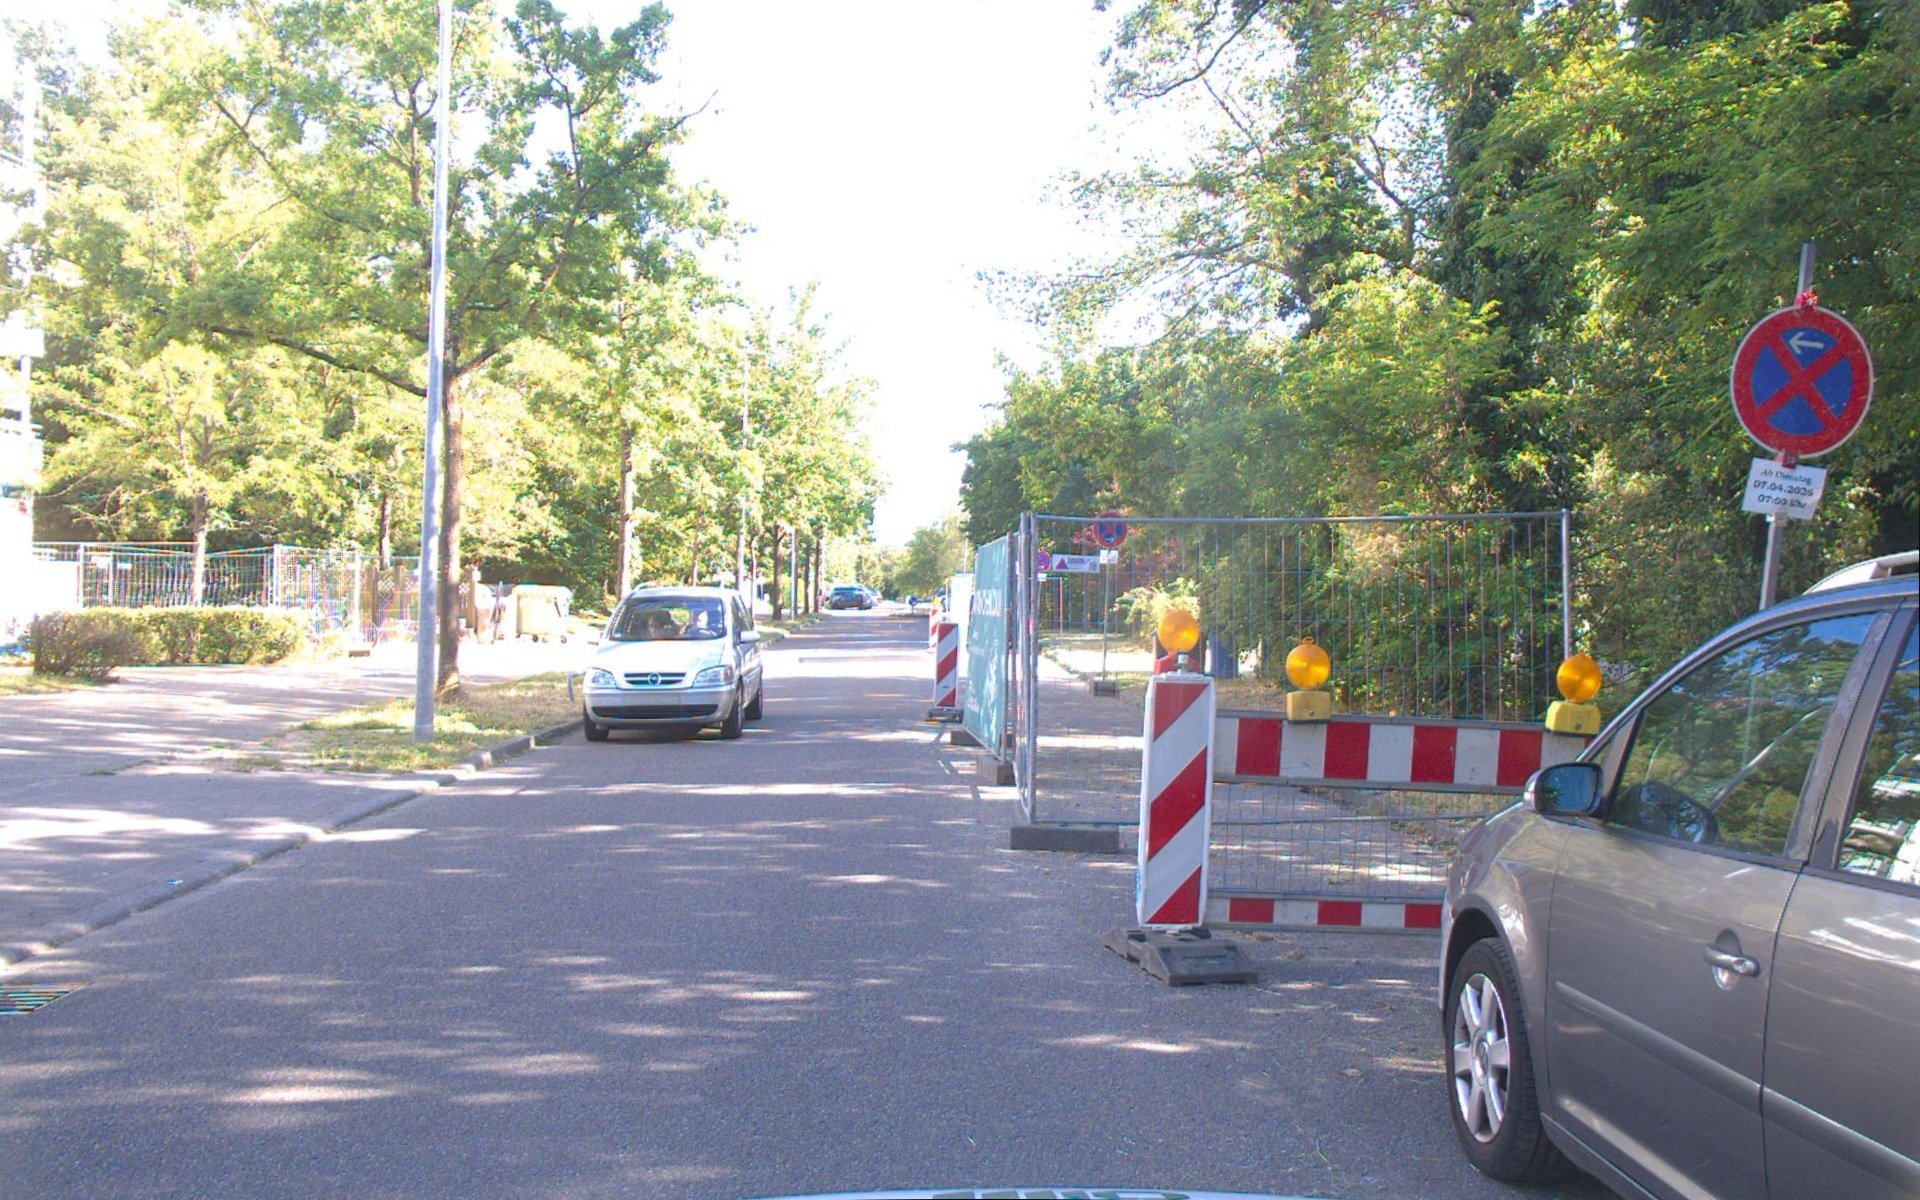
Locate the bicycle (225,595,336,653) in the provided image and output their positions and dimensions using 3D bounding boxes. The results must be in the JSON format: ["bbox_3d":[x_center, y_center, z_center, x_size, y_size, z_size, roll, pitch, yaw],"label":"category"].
[{"bbox_3d":[-12.641,0.449,30.806,1.837,1.045,0.399,1,-1,-15],"label":"bicycle"}]

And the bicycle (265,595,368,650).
[{"bbox_3d":[-12.520,0.436,32.225,1.807,1.045,0.399,1,-1,-15],"label":"bicycle"}]

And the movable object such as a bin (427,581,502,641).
[{"bbox_3d":[-12.448,0.266,41.546,1.244,1.460,1.324,0,0,26],"label":"movable object such as a bin"}]

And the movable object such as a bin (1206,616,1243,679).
[{"bbox_3d":[4.424,0.787,27.679,0.508,1.017,0.608,-1,0,-1],"label":"movable object such as a bin"}]

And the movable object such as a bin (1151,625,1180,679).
[{"bbox_3d":[3.436,0.873,27.693,0.404,0.885,0.484,-1,0,-1],"label":"movable object such as a bin"}]

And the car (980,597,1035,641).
[{"bbox_3d":[1.645,0.642,58.265,1.628,1.399,4.153,2,0,-2],"label":"car"}]

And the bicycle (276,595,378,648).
[{"bbox_3d":[-12.831,0.440,33.574,1.882,1.045,0.399,1,-1,-15],"label":"bicycle"}]

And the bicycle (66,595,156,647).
[{"bbox_3d":[-17.454,0.426,33.999,1.659,1.045,0.401,1,-1,4],"label":"bicycle"}]

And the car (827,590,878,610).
[{"bbox_3d":[-9.567,-0.001,147.612,4.227,1.604,2.047,2,0,5],"label":"car"}]

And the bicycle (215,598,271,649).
[{"bbox_3d":[-14.930,0.483,34.482,0.391,1.045,1.700,1,-1,1],"label":"bicycle"}]

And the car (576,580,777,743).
[{"bbox_3d":[-3.124,0.621,18.949,1.625,1.624,4.008,-1,0,-1],"label":"car"}]

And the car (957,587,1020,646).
[{"bbox_3d":[0.917,0.500,51.391,1.772,1.680,4.422,2,0,2],"label":"car"}]

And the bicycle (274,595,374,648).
[{"bbox_3d":[-12.724,0.437,33.113,1.807,1.045,0.399,1,-1,-15],"label":"bicycle"}]

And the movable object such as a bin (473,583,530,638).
[{"bbox_3d":[-12.319,0.272,44.403,1.132,1.460,1.258,0,0,-35],"label":"movable object such as a bin"}]

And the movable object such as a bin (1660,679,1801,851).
[{"bbox_3d":[4.184,0.884,9.003,0.474,0.876,0.559,1,0,-4],"label":"movable object such as a bin"}]

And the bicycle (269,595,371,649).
[{"bbox_3d":[-12.640,0.438,32.693,1.828,1.045,0.399,1,-1,-15],"label":"bicycle"}]

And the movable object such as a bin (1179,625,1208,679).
[{"bbox_3d":[3.916,0.863,27.746,0.404,0.885,0.484,-1,0,-1],"label":"movable object such as a bin"}]

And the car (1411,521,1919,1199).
[{"bbox_3d":[2.326,0.720,3.106,1.645,1.650,4.135,2,0,-2],"label":"car"}]

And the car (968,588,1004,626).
[{"bbox_3d":[1.300,0.354,82.828,1.590,1.804,3.668,2,0,-1],"label":"car"}]

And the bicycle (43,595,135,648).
[{"bbox_3d":[-17.542,0.425,33.320,1.659,1.045,0.401,1,-1,4],"label":"bicycle"}]

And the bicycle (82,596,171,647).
[{"bbox_3d":[-17.411,0.440,34.554,1.659,1.045,0.401,1,-1,4],"label":"bicycle"}]

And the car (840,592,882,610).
[{"bbox_3d":[-9.817,0.061,163.912,4.022,1.604,1.958,2,0,0],"label":"car"}]

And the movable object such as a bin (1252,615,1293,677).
[{"bbox_3d":[5.256,0.770,27.804,0.551,1.017,0.608,-1,0,-1],"label":"movable object such as a bin"}]

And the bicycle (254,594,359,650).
[{"bbox_3d":[-12.533,0.432,31.752,1.824,1.045,0.399,1,-1,-15],"label":"bicycle"}]

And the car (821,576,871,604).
[{"bbox_3d":[-11.941,-1.011,172.797,5.100,2.666,2.290,2,0,-7],"label":"car"}]

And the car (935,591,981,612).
[{"bbox_3d":[-0.173,0.130,143.371,3.758,1.604,1.689,2,0,5],"label":"car"}]

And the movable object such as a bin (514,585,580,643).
[{"bbox_3d":[-10.677,0.348,42.810,1.242,1.460,1.182,0,0,14],"label":"movable object such as a bin"}]
